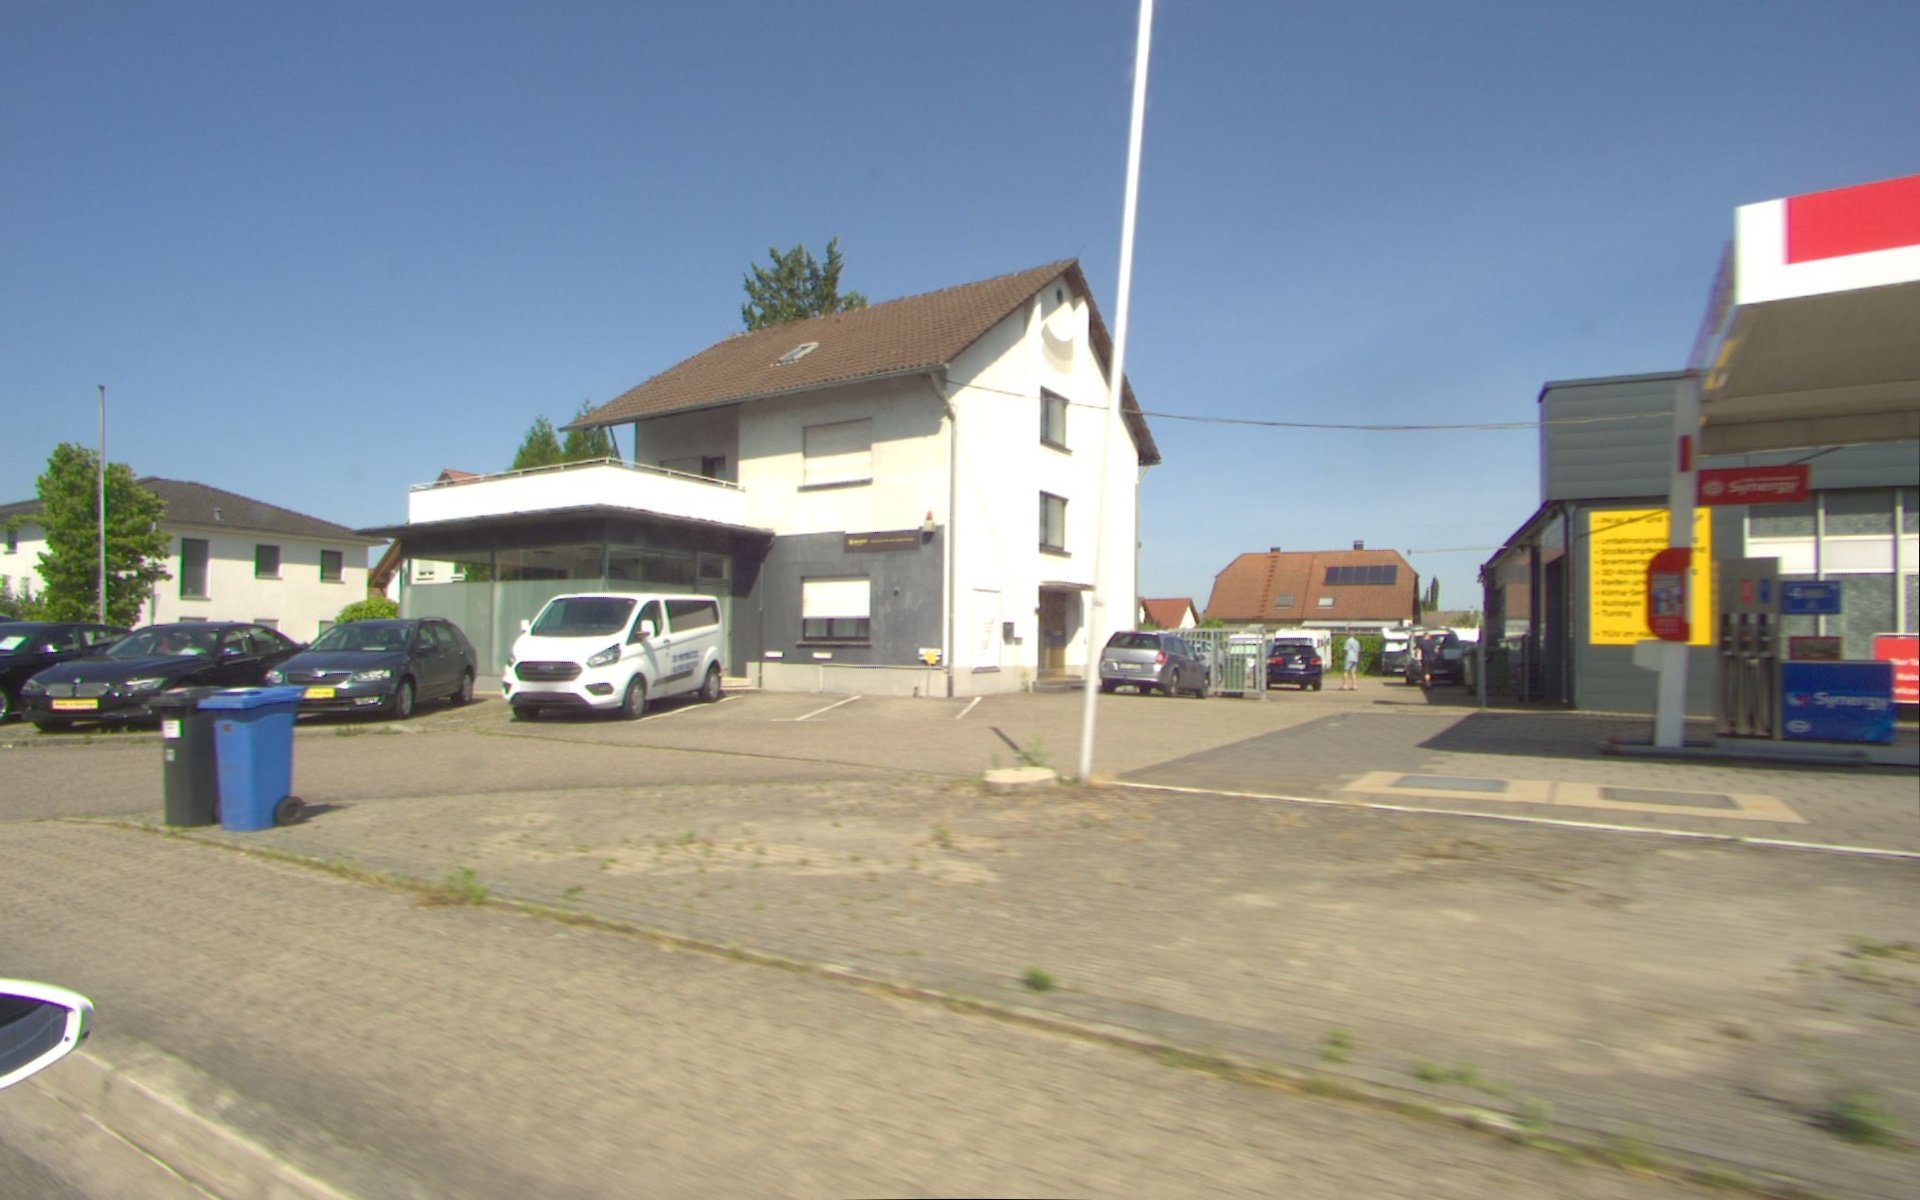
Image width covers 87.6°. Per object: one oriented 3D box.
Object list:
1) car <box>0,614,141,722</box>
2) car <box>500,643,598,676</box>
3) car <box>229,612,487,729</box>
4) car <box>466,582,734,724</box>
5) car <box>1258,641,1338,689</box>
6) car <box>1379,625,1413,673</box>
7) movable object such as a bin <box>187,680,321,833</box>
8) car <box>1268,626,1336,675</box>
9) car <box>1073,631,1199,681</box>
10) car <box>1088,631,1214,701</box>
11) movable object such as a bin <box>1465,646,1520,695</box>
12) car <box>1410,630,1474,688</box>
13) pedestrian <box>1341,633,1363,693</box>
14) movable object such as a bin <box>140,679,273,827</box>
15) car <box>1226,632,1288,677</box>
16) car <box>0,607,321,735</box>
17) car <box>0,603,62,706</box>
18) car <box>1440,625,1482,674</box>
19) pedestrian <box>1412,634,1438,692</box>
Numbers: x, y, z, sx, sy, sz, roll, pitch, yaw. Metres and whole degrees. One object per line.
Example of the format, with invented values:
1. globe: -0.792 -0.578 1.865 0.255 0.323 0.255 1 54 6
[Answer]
1. car: -14.088 0.952 14.562 1.718 1.465 3.872 1 -2 -11
2. car: -18.483 2.663 45.015 4.319 1.447 1.692 -1 -3 28
3. car: -9.119 1.018 15.661 1.947 1.570 4.316 1 -2 -9
4. car: -5.817 0.847 17.132 2.188 2.039 5.288 0 -2 7
5. car: 10.710 2.078 31.592 1.784 1.392 3.620 -1 -5 29
6. car: 26.042 2.908 59.701 1.763 2.735 5.178 -1 -2 24
7. movable object such as a bin: -4.810 1.041 6.838 0.506 0.951 0.558 0 -1 23
8. car: 21.868 3.173 63.782 2.730 2.961 7.334 -1 -2 30
9. car: 5.882 1.896 33.351 4.022 1.497 1.802 4 -5 -33
10. car: 4.634 1.582 23.825 1.784 1.497 4.061 -1 -4 29
11. movable object such as a bin: 14.714 1.924 27.715 1.257 1.312 1.171 -1 -2 25
12. car: 17.095 2.054 35.701 1.903 1.928 5.172 -1 -2 24
13. pedestrian: 12.393 1.991 31.647 0.599 1.889 0.503 0 -1 16
14. movable object such as a bin: -5.281 1.049 7.031 0.506 0.948 0.558 0 -1 23
15. car: 19.847 3.576 66.698 2.730 2.834 5.418 -1 -2 30
16. car: -11.442 0.963 14.761 1.947 1.585 4.237 1 -2 -11
17. car: -16.541 0.861 15.552 1.796 1.674 4.114 0 -2 -7
18. car: 29.108 2.858 58.303 1.991 2.735 5.178 -1 -2 24
19. pedestrian: 14.419 1.953 31.043 0.635 1.769 0.650 0 -1 18
